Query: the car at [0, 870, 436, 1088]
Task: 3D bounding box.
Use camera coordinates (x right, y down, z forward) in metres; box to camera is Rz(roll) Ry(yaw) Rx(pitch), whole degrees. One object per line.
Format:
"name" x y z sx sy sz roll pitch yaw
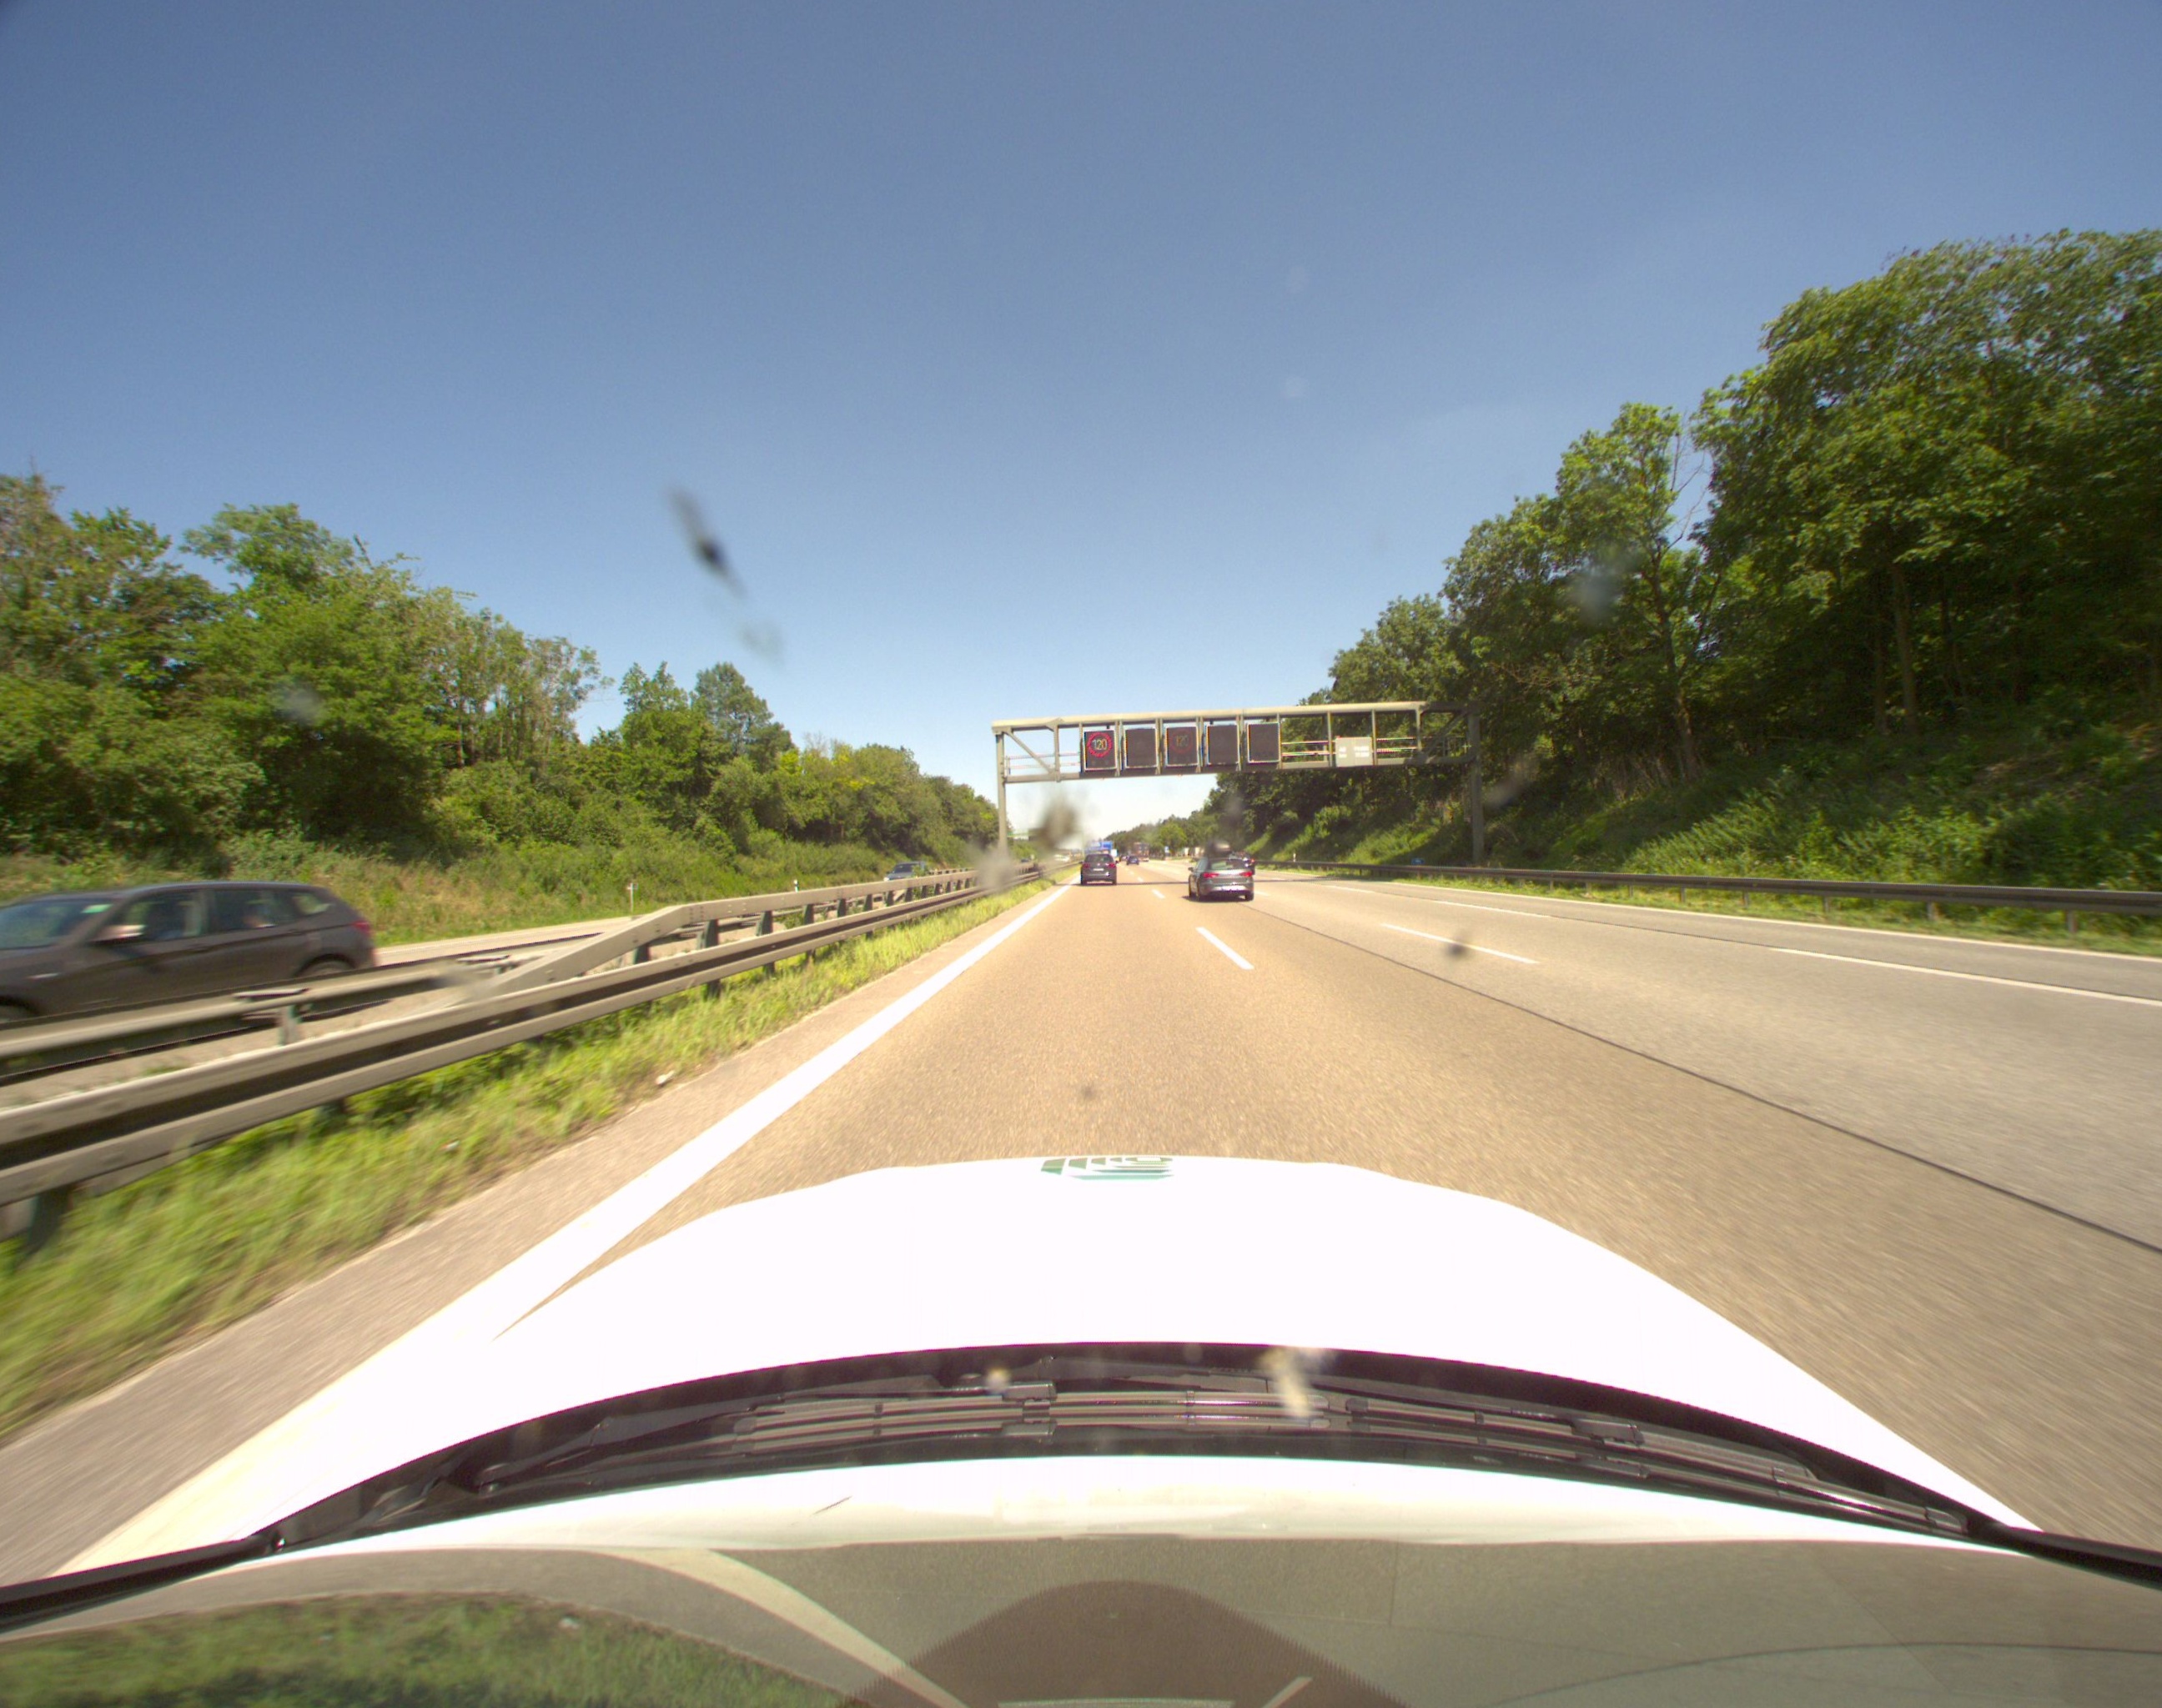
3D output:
"car" -9.495 1.105 8.298 1.800 1.642 4.802 -4 0 2

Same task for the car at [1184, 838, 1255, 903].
"car" 4.473 0.487 26.902 1.658 1.876 4.830 -3 0 2

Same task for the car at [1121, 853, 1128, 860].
"car" 9.216 0.530 173.480 1.466 1.398 3.411 1 0 1

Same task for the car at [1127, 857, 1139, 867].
"car" 7.550 1.124 118.641 1.757 1.381 4.263 -1 0 4

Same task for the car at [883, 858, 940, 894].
"car" -8.407 1.056 40.800 1.755 1.618 4.233 -3 0 2

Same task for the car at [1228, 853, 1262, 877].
"car" 11.101 0.715 55.312 1.757 1.568 4.263 -1 0 4

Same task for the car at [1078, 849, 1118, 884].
"car" 0.919 0.604 41.619 1.791 1.669 4.263 -1 0 4

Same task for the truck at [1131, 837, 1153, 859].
"truck" 12.985 -1.129 174.501 3.767 4.422 14.053 -1 0 1

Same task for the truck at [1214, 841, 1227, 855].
"truck" 40.238 -1.794 235.068 3.263 3.947 9.382 -2 0 12

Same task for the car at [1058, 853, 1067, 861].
"car" -4.412 0.743 195.447 1.805 1.617 3.916 -4 0 2
